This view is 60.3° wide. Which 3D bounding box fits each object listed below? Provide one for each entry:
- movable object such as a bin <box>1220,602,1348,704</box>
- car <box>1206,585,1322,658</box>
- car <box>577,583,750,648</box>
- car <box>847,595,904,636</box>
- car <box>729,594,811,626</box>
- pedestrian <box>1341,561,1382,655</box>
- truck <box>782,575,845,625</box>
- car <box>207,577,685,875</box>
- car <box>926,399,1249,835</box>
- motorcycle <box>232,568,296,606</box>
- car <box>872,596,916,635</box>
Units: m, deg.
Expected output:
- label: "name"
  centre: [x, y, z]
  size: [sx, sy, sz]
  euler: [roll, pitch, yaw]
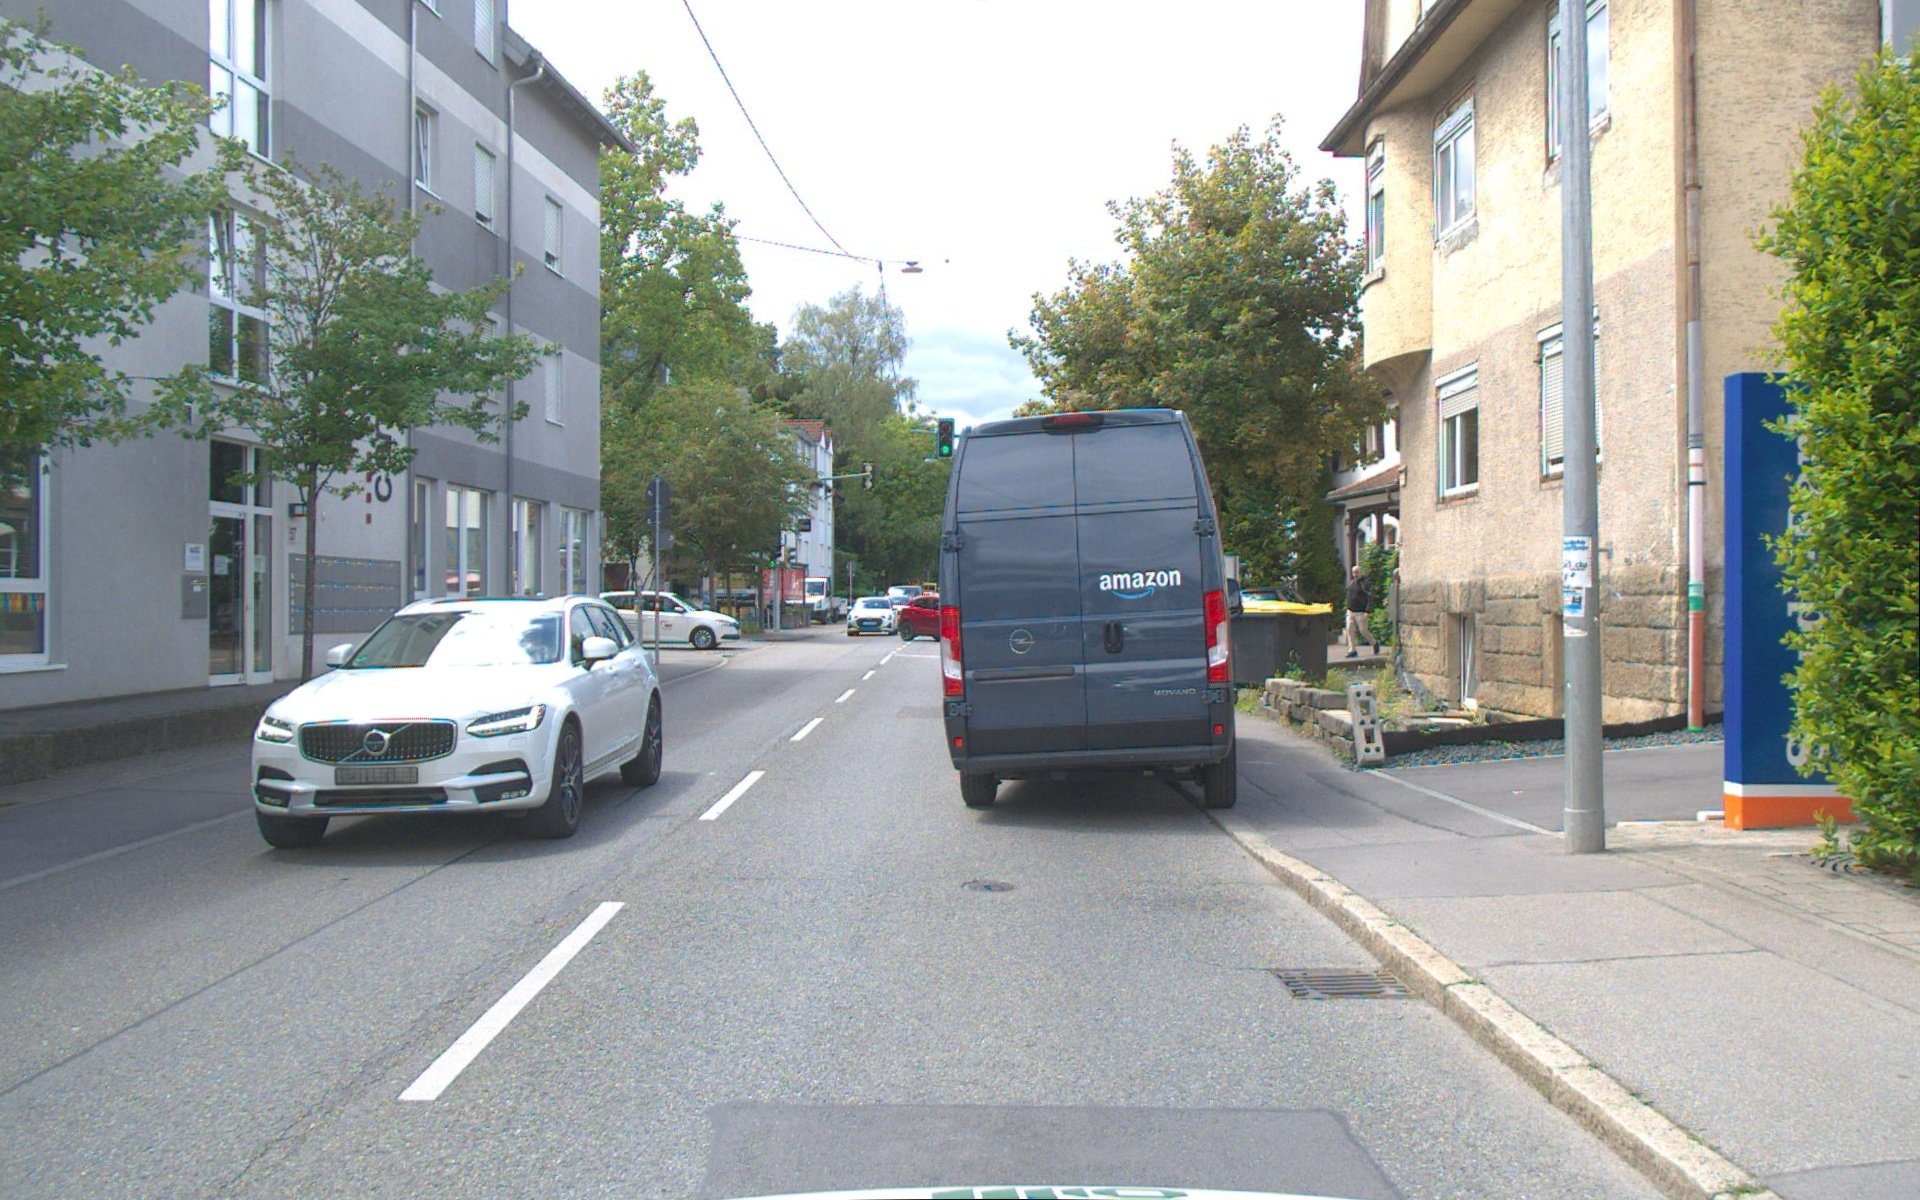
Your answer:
- label: "movable object such as a bin"
  centre: [4.282, 0.677, 21.894]
  size: [1.170, 1.288, 1.197]
  euler: [1, 0, -30]
- label: "car"
  centre: [7.422, 0.490, 40.094]
  size: [1.717, 1.543, 4.076]
  euler: [-4, 0, 25]
- label: "car"
  centre: [-7.640, 0.385, 42.869]
  size: [4.125, 1.540, 1.822]
  euler: [1, 1, 1]
- label: "car"
  centre: [-3.168, 0.573, 62.441]
  size: [1.835, 1.449, 4.116]
  euler: [1, 0, 1]
- label: "car"
  centre: [-8.780, 0.458, 76.724]
  size: [3.618, 1.450, 1.804]
  euler: [1, 0, -2]
- label: "pedestrian"
  centre: [7.929, 0.157, 32.713]
  size: [0.724, 1.814, 0.900]
  euler: [0, 0, 10]
- label: "truck"
  centre: [-7.393, 0.018, 84.009]
  size: [2.177, 2.421, 6.328]
  euler: [1, -1, 4]
- label: "car"
  centre: [-3.287, 0.708, 11.693]
  size: [1.859, 1.587, 4.800]
  euler: [-3, 0, -1]
- label: "car"
  centre: [1.258, 0.107, 13.936]
  size: [2.102, 2.819, 6.254]
  euler: [0, 0, 8]
- label: "motorcycle"
  centre: [-19.295, -0.351, 45.915]
  size: [1.180, 1.022, 2.333]
  euler: [1, 0, -11]
- label: "car"
  centre: [-2.849, 0.653, 71.918]
  size: [1.692, 1.565, 4.000]
  euler: [1, 1, 0]
